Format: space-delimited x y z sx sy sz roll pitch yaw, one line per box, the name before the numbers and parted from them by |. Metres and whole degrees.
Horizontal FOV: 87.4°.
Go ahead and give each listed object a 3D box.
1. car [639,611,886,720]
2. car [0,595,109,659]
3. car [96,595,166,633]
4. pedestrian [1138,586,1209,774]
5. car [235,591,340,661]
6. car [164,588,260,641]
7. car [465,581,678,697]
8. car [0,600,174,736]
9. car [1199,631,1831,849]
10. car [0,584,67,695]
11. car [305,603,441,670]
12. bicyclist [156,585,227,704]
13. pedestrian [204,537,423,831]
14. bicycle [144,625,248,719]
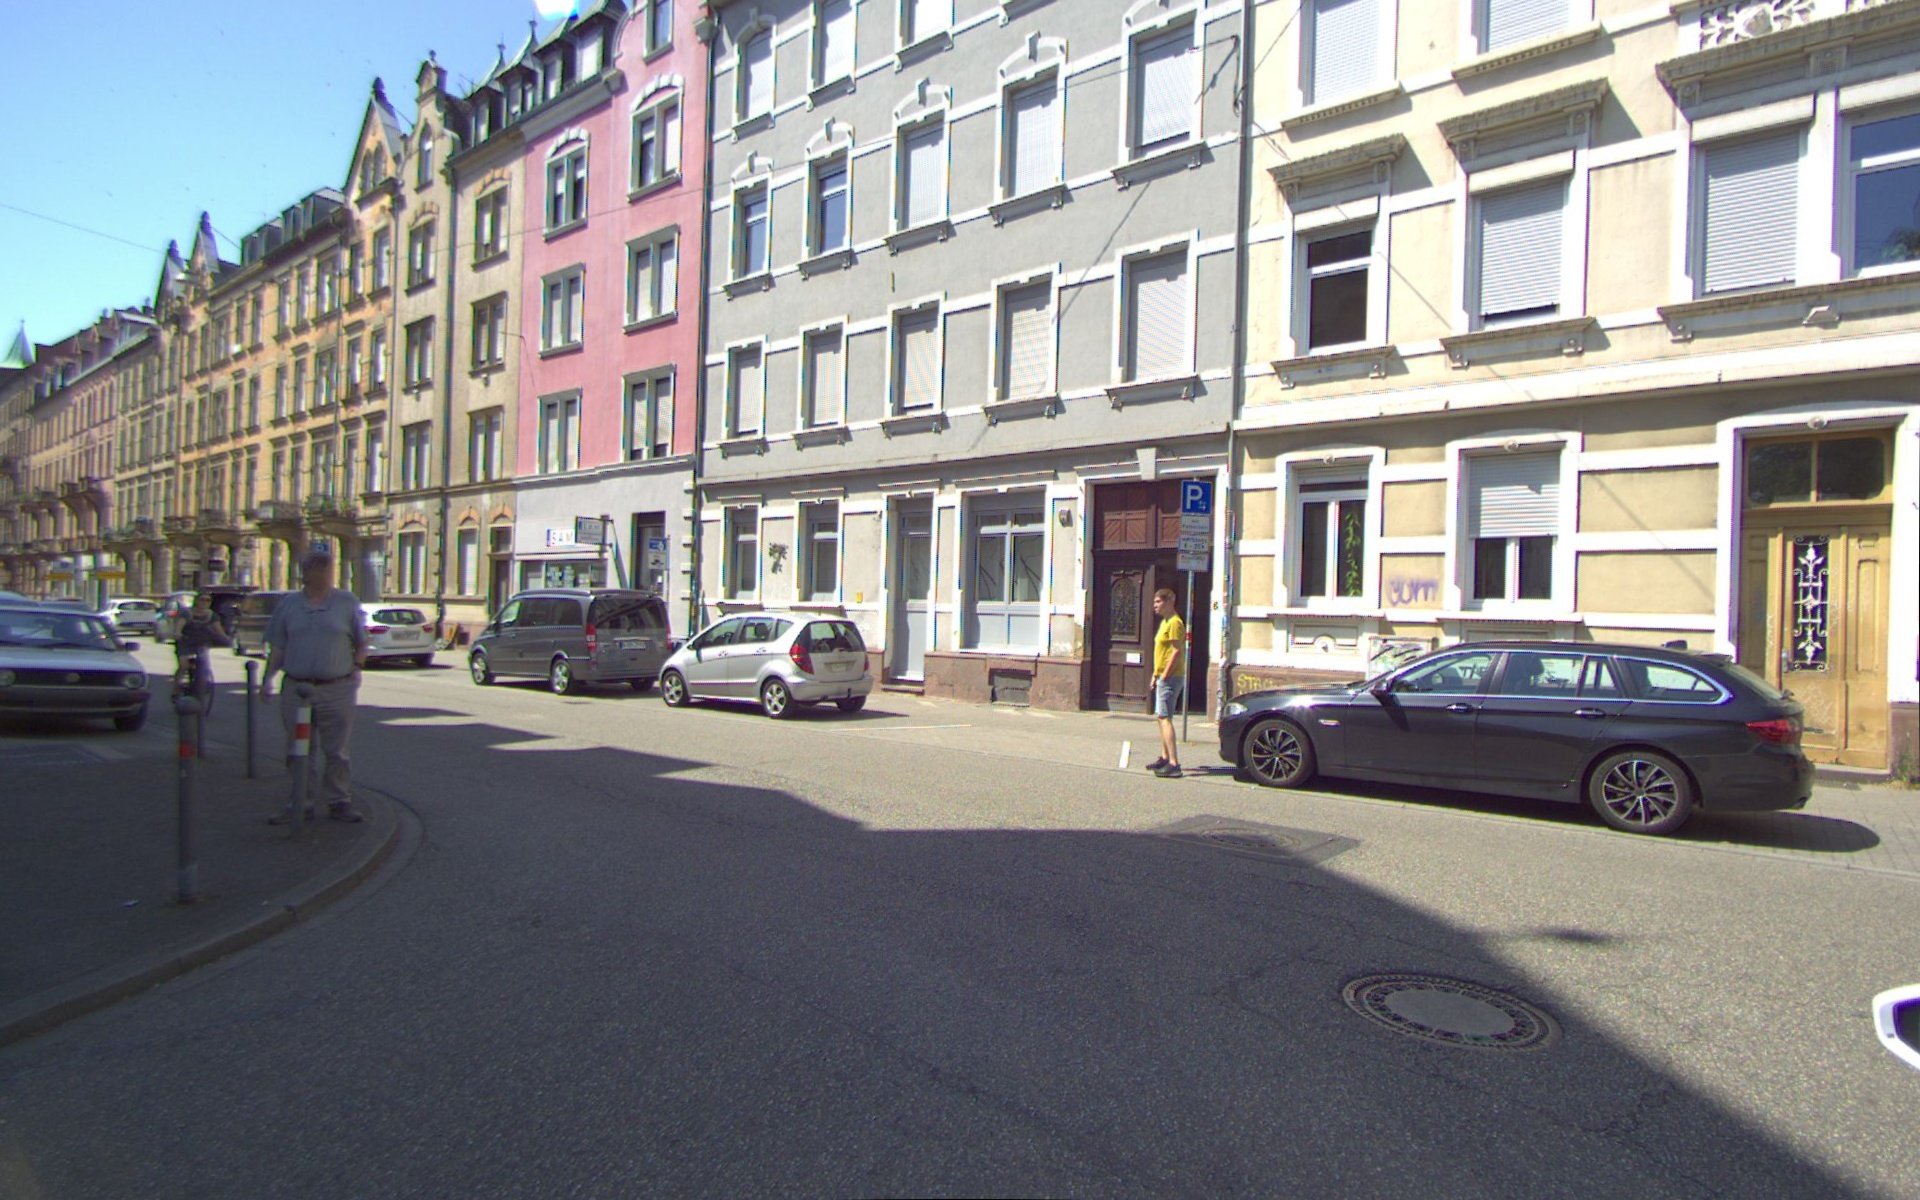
car | -3.309 0.994 16.496 3.996 1.582 1.800 0 -2 38
car | -23.887 0.692 26.309 3.579 1.579 1.620 0 -2 36
car | -34.466 0.575 41.755 3.236 1.463 1.521 0 -4 38
pedestrian | 2.218 0.814 10.497 0.671 1.878 0.727 1 -1 10
car | -19.522 0.739 29.131 3.308 1.910 1.542 0 -1 38
car | -25.903 0.497 34.748 3.785 1.753 1.715 0 -1 38
car | -7.749 0.704 19.853 4.648 2.024 1.869 0 0 39
car | -11.344 0.776 12.341 3.785 1.444 1.716 0 -4 38
car | 4.888 1.068 9.367 4.801 1.456 1.991 0 -2 39
car | -15.510 0.568 15.595 3.785 1.603 1.716 0 -4 38
car | -15.132 0.887 25.840 3.785 1.603 1.715 0 -1 38
bicyclist | -10.851 0.619 14.187 0.666 1.619 0.621 0 -2 39
pedestrian | -4.444 0.541 6.933 0.889 1.838 0.957 0 -2 34
bicycle | -10.759 0.972 14.111 2.269 1.203 0.610 0 -2 39
